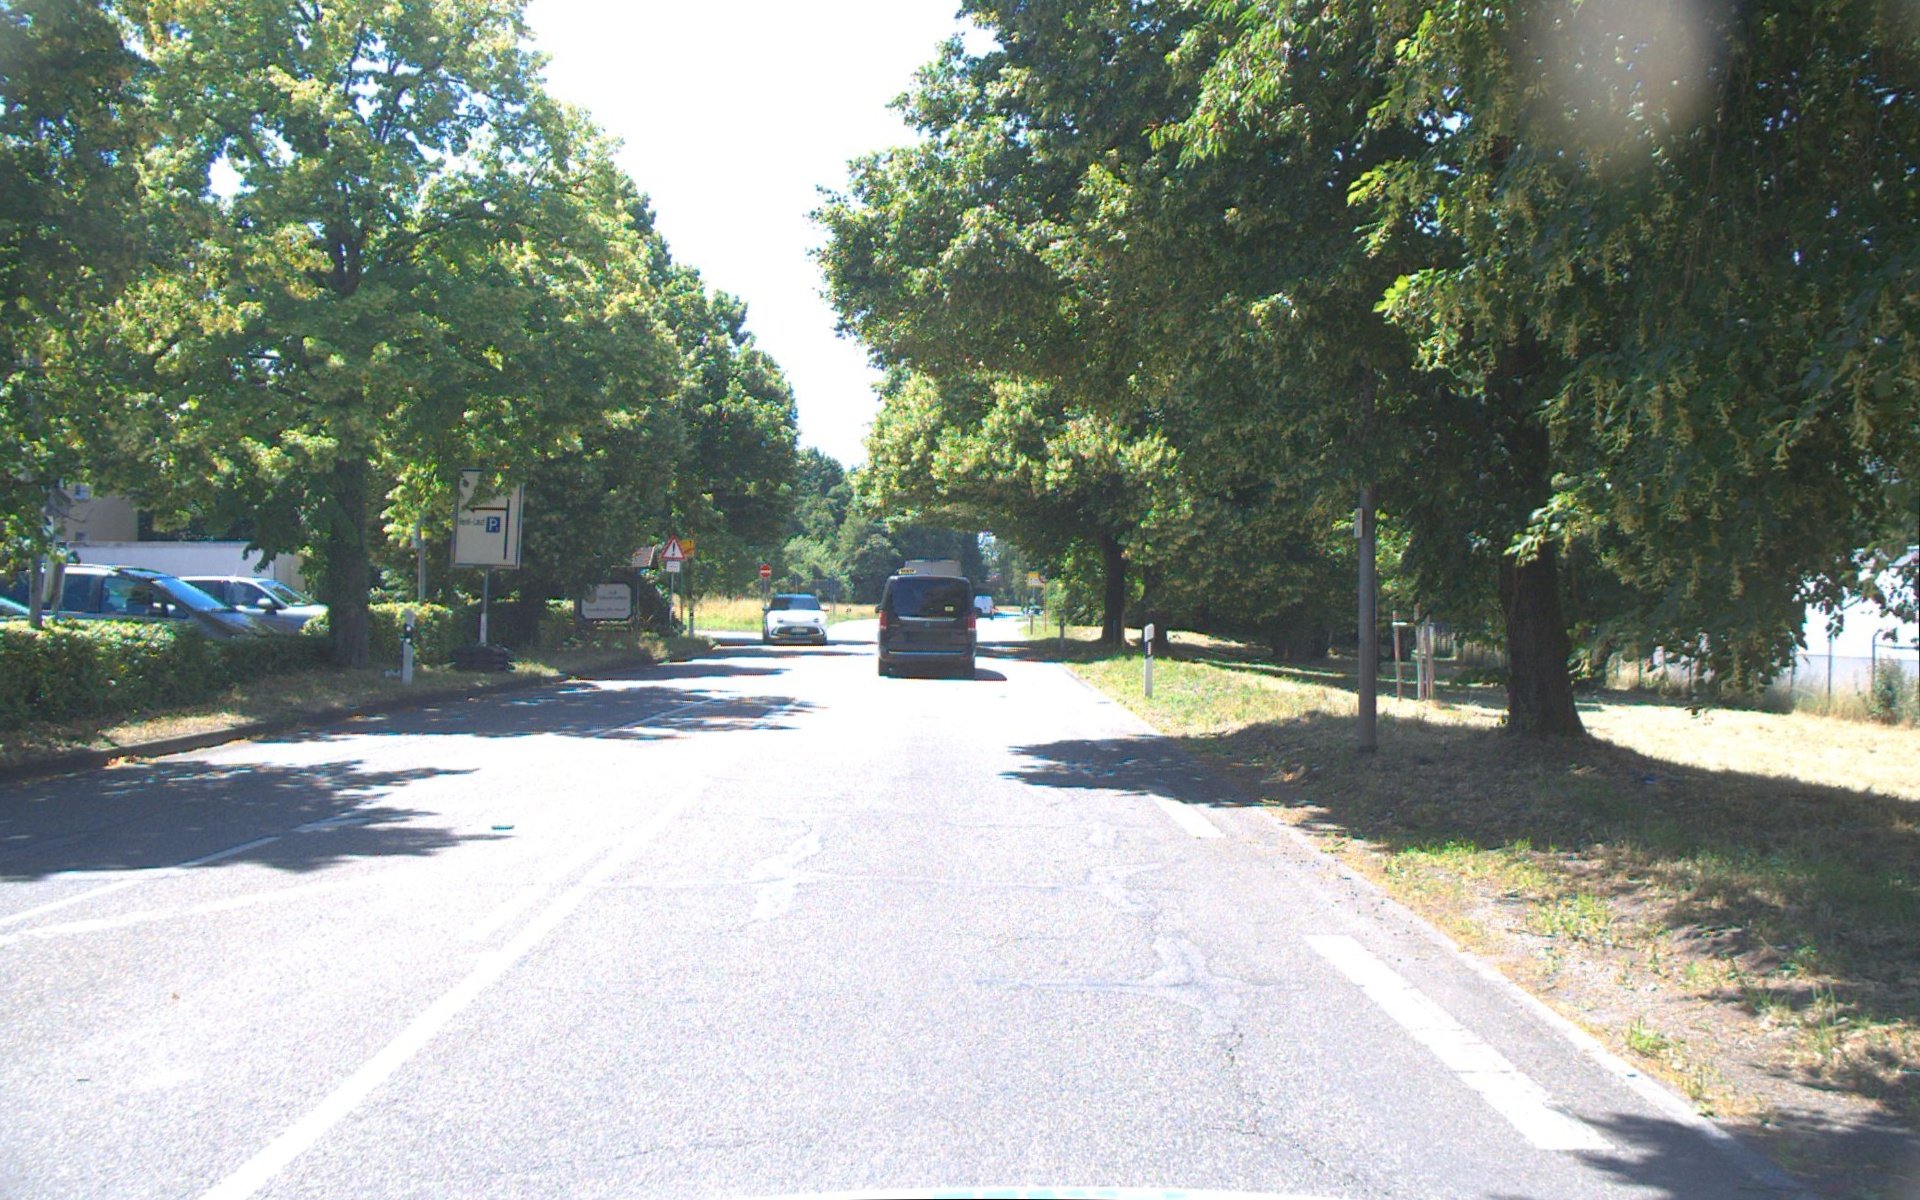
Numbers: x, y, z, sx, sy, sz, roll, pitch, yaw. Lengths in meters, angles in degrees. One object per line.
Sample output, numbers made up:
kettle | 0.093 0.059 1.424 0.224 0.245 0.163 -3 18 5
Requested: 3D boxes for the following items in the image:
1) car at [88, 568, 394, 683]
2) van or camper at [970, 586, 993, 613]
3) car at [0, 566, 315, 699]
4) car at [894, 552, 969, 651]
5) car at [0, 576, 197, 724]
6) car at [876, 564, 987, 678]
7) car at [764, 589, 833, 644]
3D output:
car | -12.268 0.420 28.472 4.312 1.807 2.071 1 0 -3
van or camper | 2.505 -0.044 194.339 2.578 2.980 5.206 1 0 0
car | -12.163 0.455 24.573 4.312 1.807 2.071 1 0 -3
car | -0.908 0.046 49.634 2.037 2.750 4.663 2 0 -3
car | -11.721 0.532 19.720 4.312 1.648 1.894 1 0 -3
car | -0.542 0.375 32.349 1.953 1.987 5.004 2 0 -1
car | -5.202 0.501 52.778 2.054 1.616 4.468 2 0 -7
